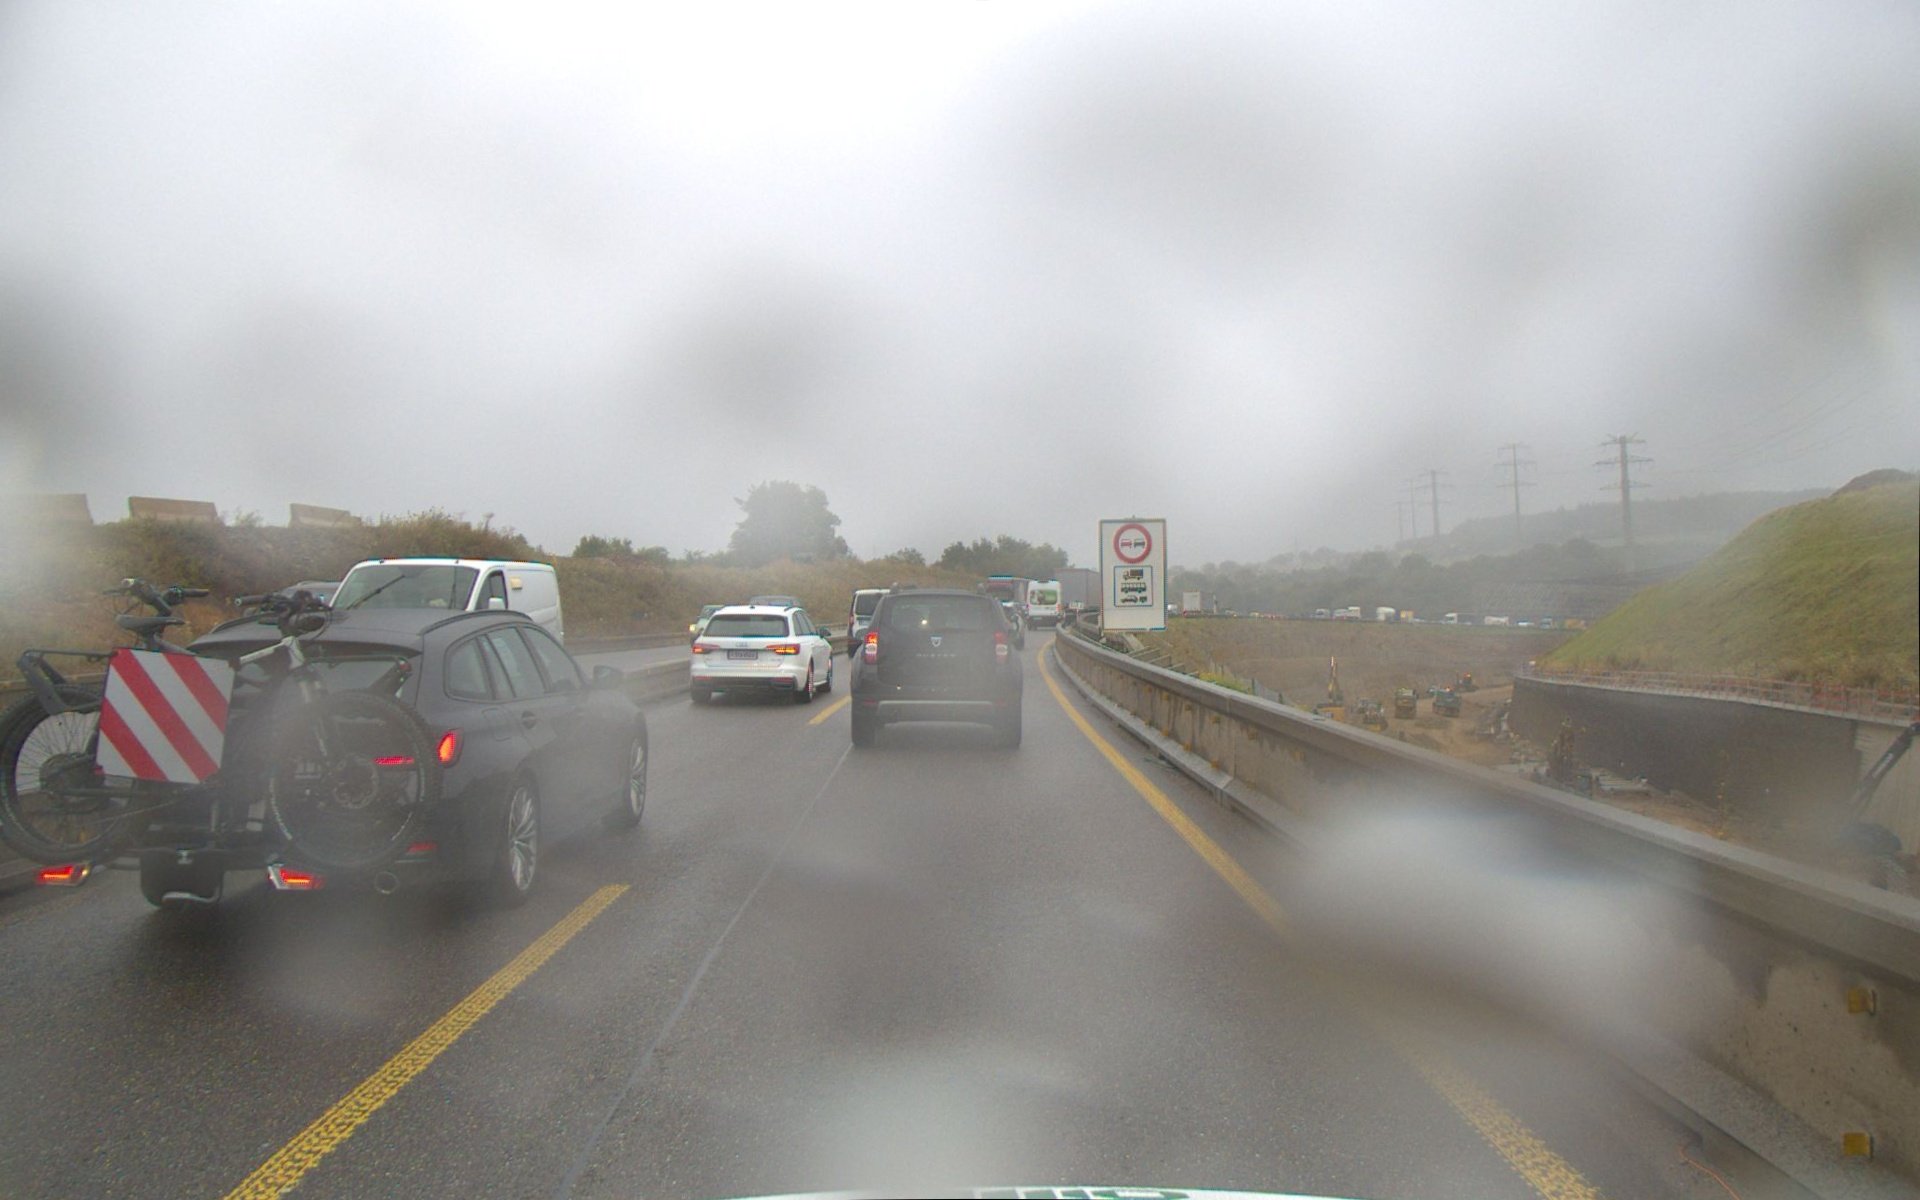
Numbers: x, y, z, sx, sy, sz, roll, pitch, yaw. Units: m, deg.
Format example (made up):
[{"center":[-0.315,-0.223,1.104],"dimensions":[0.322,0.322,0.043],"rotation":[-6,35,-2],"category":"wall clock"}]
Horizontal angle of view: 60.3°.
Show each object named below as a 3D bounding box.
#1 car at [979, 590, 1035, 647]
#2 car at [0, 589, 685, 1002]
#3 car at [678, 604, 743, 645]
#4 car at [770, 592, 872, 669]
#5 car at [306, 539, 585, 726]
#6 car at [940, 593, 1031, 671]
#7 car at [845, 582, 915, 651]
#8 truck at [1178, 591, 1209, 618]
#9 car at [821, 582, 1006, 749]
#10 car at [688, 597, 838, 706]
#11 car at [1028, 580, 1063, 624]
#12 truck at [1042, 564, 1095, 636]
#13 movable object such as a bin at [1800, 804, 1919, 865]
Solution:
[{"center":[1.596,0.623,55.311],"dimensions":[1.788,1.847,4.001],"rotation":[0,-1,2],"category":"car"},{"center":[-2.873,0.739,9.212],"dimensions":[1.699,1.488,5.630],"rotation":[0,1,0],"category":"car"},{"center":[-8.758,0.839,58.338],"dimensions":[1.547,1.407,4.001],"rotation":[0,0,2],"category":"car"},{"center":[-2.876,0.633,34.958],"dimensions":[1.789,1.525,4.000],"rotation":[0,-1,0],"category":"car"},{"center":[-6.177,0.329,20.537],"dimensions":[1.953,2.034,4.968],"rotation":[0,1,-1],"category":"car"},{"center":[0.511,0.654,34.758],"dimensions":[1.789,1.525,4.000],"rotation":[0,-1,0],"category":"car"},{"center":[-2.189,0.467,46.212],"dimensions":[1.789,1.847,3.999],"rotation":[0,-1,0],"category":"car"},{"center":[33.444,0.604,236.487],"dimensions":[3.398,3.780,8.423],"rotation":[-1,0,15],"category":"truck"},{"center":[-0.437,0.666,18.161],"dimensions":[1.789,1.619,4.000],"rotation":[0,-1,0],"category":"car"},{"center":[-2.941,0.760,25.404],"dimensions":[1.789,1.525,4.000],"rotation":[0,-1,0],"category":"car"},{"center":[4.942,0.136,95.494],"dimensions":[1.787,2.480,4.160],"rotation":[0,-1,6],"category":"car"},{"center":[8.163,0.080,123.447],"dimensions":[3.468,5.166,10.448],"rotation":[0,-1,6],"category":"truck"},{"center":[35.852,9.294,65.879],"dimensions":[1.979,2.049,3.789],"rotation":[4,-4,-37],"category":"movable object such as a bin"}]
